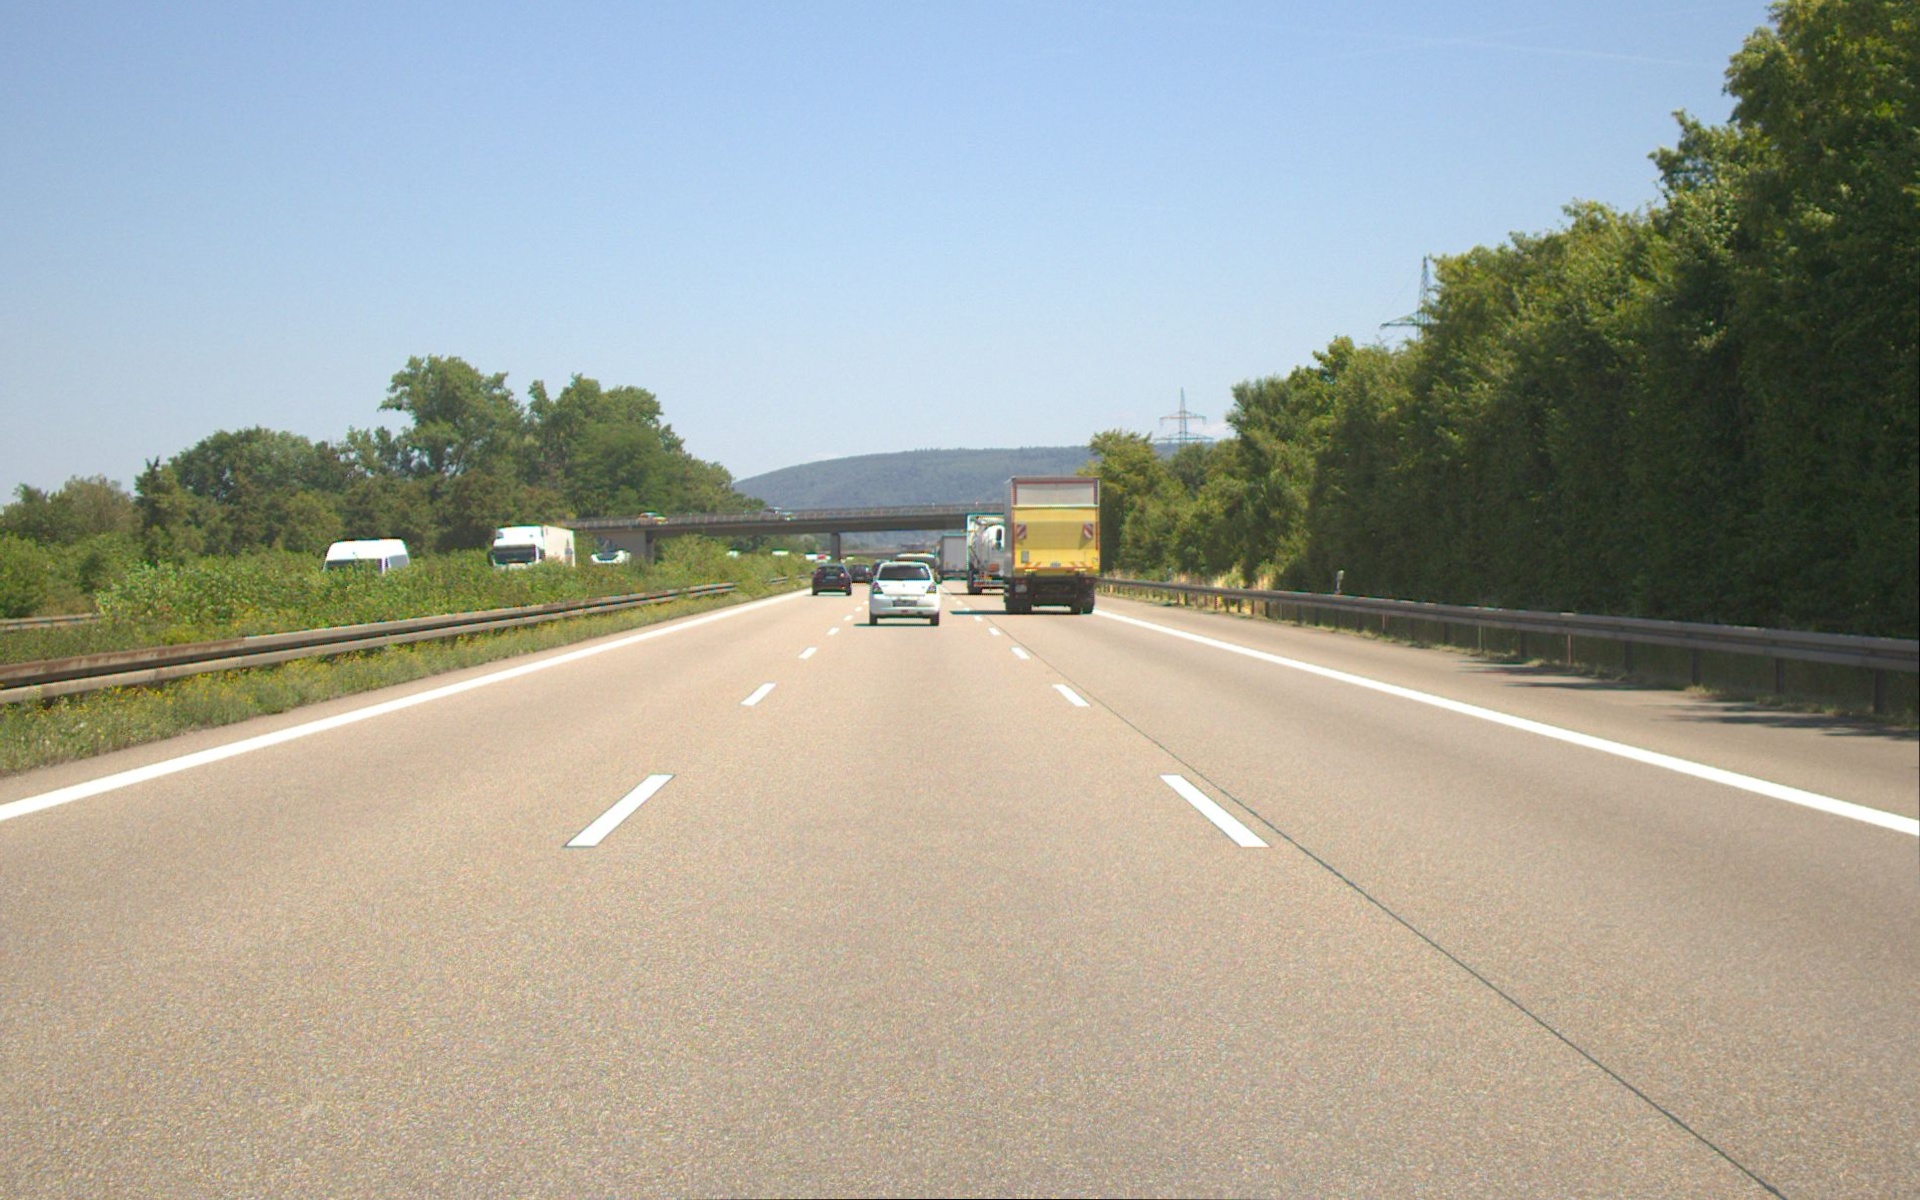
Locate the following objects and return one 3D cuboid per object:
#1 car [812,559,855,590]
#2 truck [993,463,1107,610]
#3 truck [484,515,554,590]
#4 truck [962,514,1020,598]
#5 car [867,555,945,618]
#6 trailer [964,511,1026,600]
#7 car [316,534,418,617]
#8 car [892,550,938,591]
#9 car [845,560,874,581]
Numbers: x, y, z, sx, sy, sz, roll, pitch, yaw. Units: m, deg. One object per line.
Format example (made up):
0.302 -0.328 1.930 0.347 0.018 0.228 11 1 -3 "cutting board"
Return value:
-5.766 -1.171 157.313 1.835 1.382 4.000 1 1 -1 "car"
2.641 -1.898 104.384 2.933 4.185 10.682 1 1 -1 "truck"
-23.065 -2.477 179.933 2.933 3.856 5.752 1 1 -1 "truck"
1.509 -2.187 170.394 2.573 4.058 6.393 1 1 -1 "truck"
-1.290 -0.344 82.893 1.806 1.463 4.000 1 1 -1 "car"
1.626 -2.124 164.994 2.580 4.060 11.104 1 1 -1 "trailer"
-17.989 -0.753 104.595 2.080 2.386 6.733 1 1 -1 "car"
-1.875 -1.243 144.247 1.852 1.627 4.000 1 1 -1 "car"
-6.743 -1.960 230.144 1.835 1.382 4.000 1 1 -1 "car"
